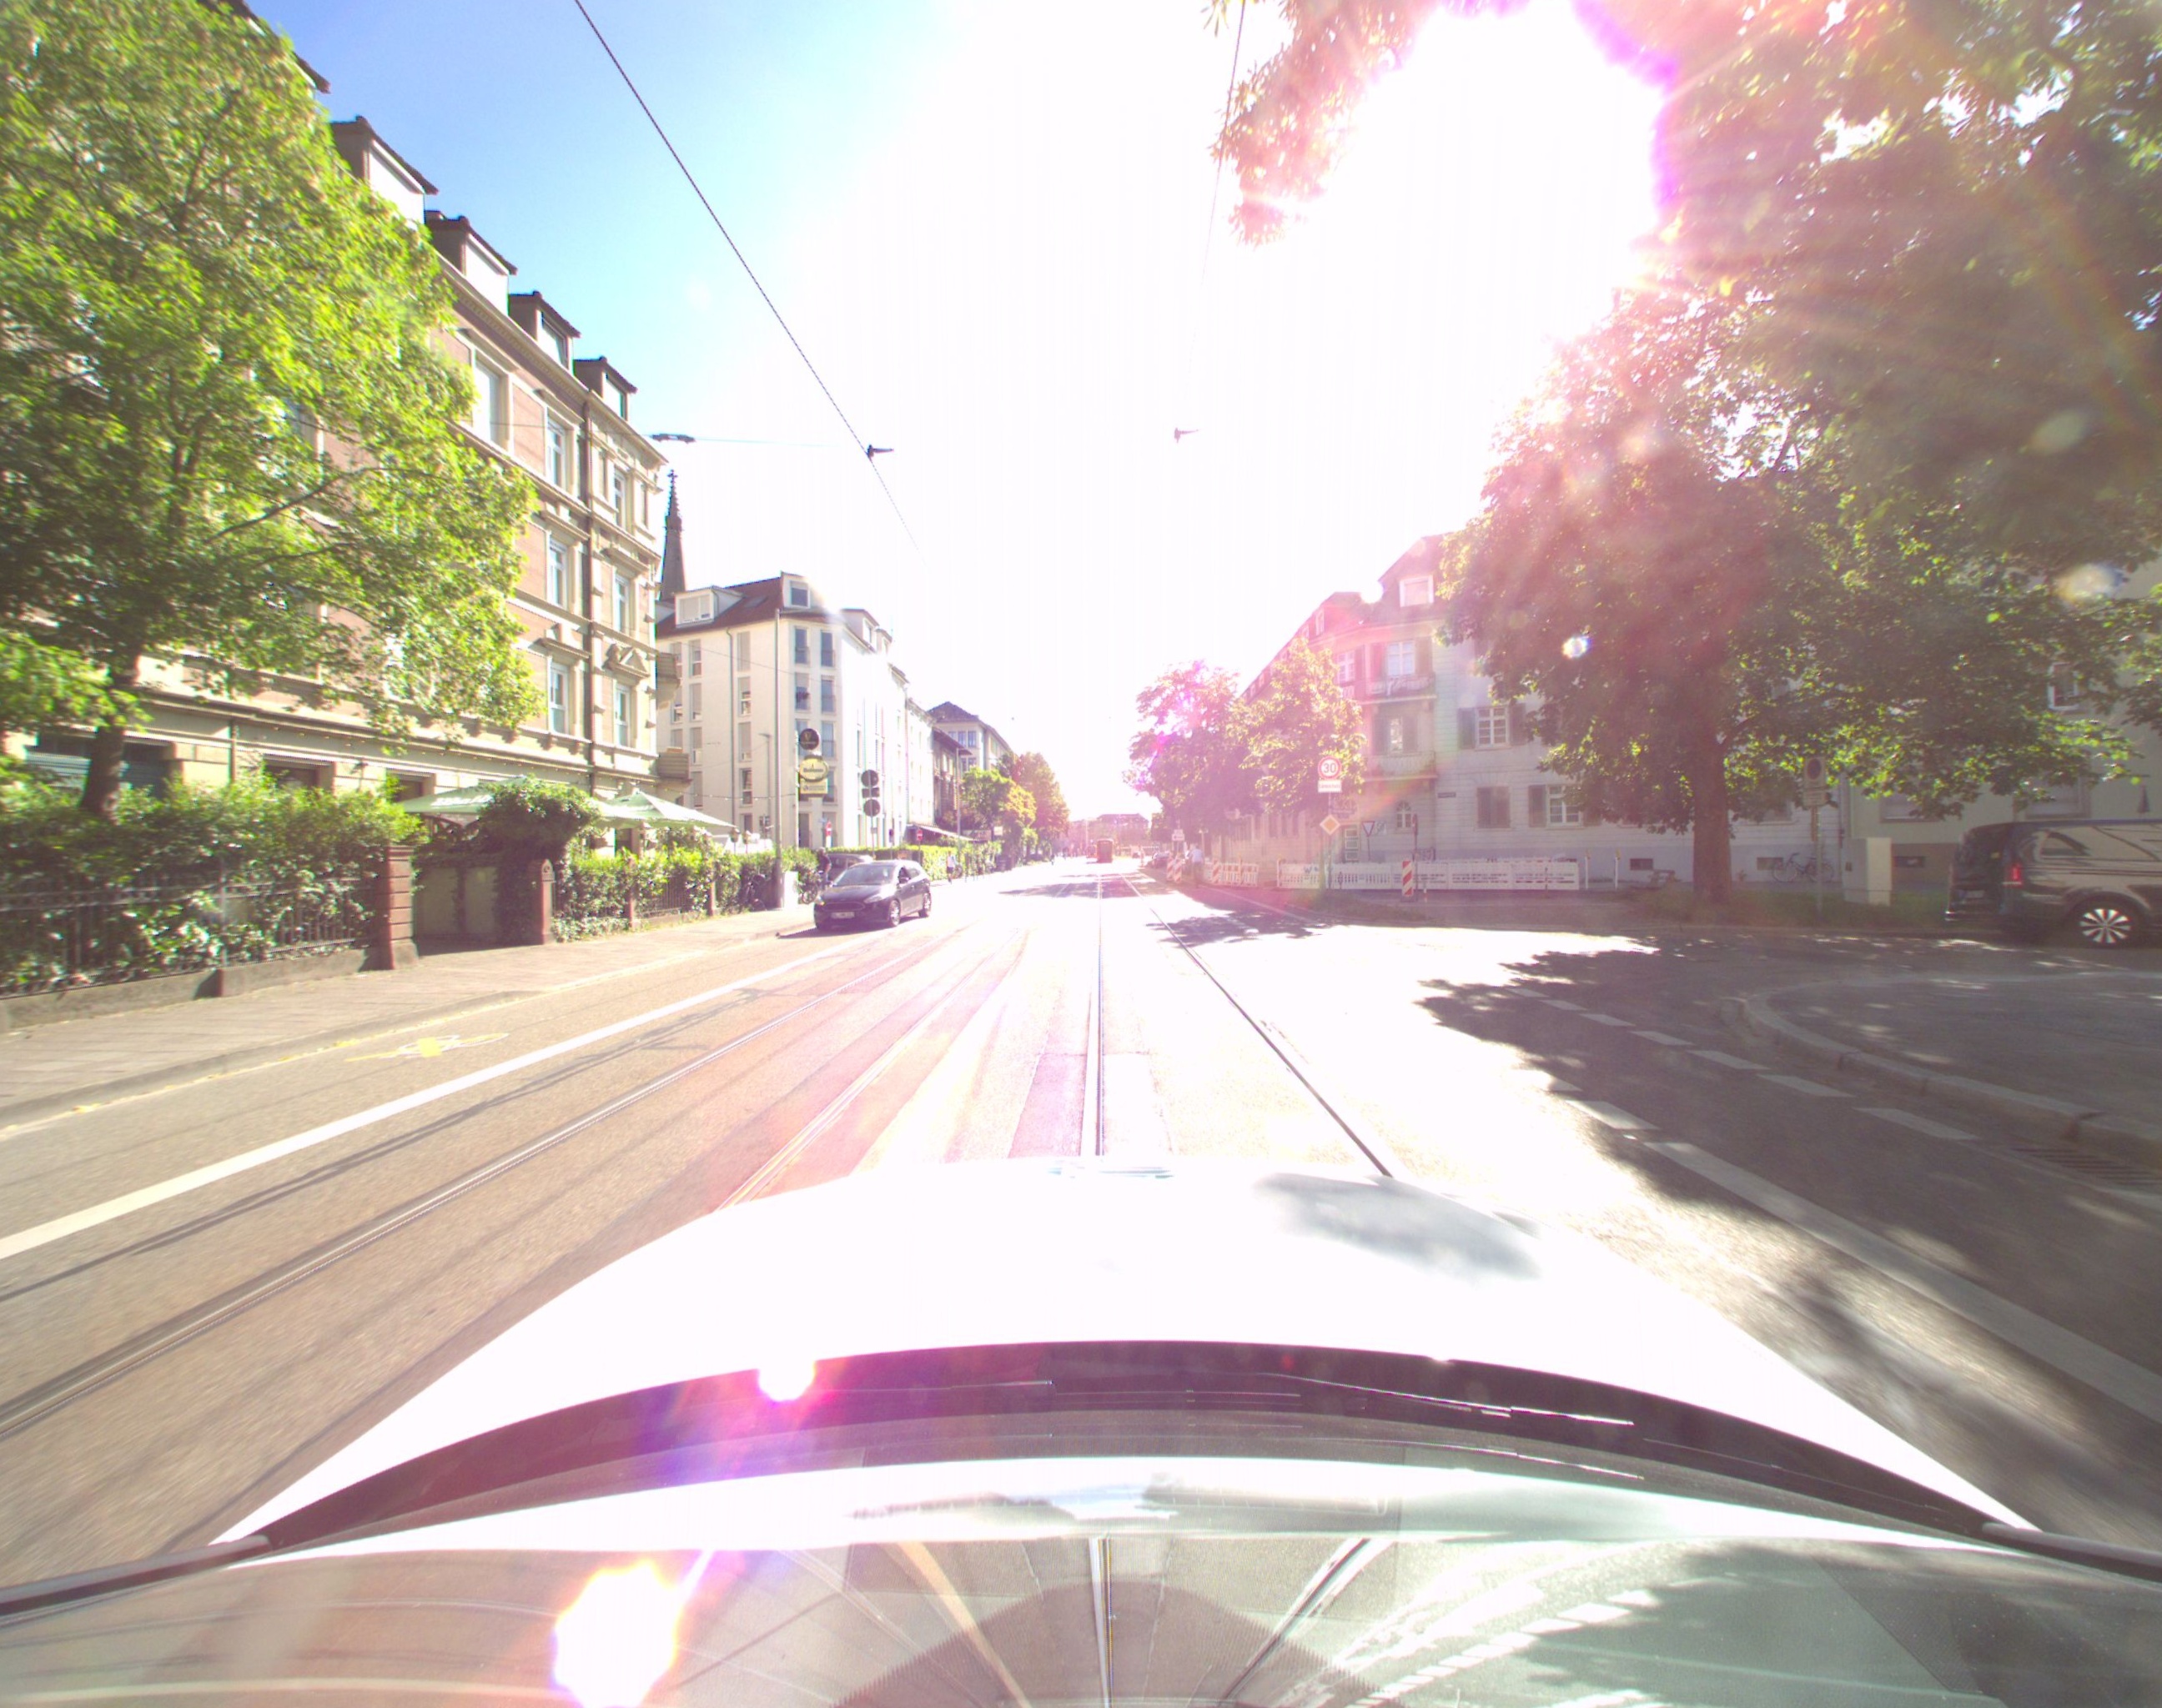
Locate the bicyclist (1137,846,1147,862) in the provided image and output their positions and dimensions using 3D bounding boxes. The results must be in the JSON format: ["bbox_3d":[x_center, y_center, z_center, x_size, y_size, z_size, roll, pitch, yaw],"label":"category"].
[{"bbox_3d":[6.107,-0.011,82.002,0.699,1.675,1.107,1,0,21],"label":"bicyclist"}]

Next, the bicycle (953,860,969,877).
[{"bbox_3d":[-7.946,0.947,54.071,0.659,1.089,1.841,2,-1,2],"label":"bicycle"}]

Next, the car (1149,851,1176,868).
[{"bbox_3d":[7.674,0.471,76.989,1.817,1.458,4.814,-3,0,-2],"label":"car"}]

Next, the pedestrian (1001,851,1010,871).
[{"bbox_3d":[-7.181,0.675,77.020,0.570,1.831,0.693,-1,0,20],"label":"pedestrian"}]

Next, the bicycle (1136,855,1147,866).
[{"bbox_3d":[6.102,0.662,82.007,0.699,1.104,1.726,1,1,21],"label":"bicycle"}]

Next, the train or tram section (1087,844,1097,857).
[{"bbox_3d":[2.990,-0.995,222.709,2.732,3.651,13.787,-1,0,1],"label":"train or tram section"}]

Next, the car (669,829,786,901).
[{"bbox_3d":[-15.156,0.487,35.209,1.871,2.841,4.805,-2,-1,18],"label":"car"}]

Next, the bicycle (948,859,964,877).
[{"bbox_3d":[-7.988,0.905,52.037,0.659,1.089,1.841,2,-1,2],"label":"bicycle"}]

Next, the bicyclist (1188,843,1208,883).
[{"bbox_3d":[4.929,0.370,34.408,0.735,1.686,0.972,0,0,3],"label":"bicyclist"}]

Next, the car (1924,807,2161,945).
[{"bbox_3d":[15.994,0.309,11.686,5.003,1.890,2.012,-1,-2,27],"label":"car"}]

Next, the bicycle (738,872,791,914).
[{"bbox_3d":[-8.667,1.032,22.413,0.511,1.038,2.224,-1,0,2],"label":"bicycle"}]

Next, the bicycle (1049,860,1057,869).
[{"bbox_3d":[-3.635,1.337,105.550,0.742,1.082,1.900,-4,0,3],"label":"bicycle"}]

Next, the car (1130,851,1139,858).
[{"bbox_3d":[11.663,0.102,177.843,1.780,1.604,3.719,0,0,6],"label":"car"}]

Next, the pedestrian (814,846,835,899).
[{"bbox_3d":[-8.742,0.636,27.757,0.555,1.781,0.538,-1,0,-2],"label":"pedestrian"}]

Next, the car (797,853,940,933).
[{"bbox_3d":[-4.893,0.822,19.504,1.856,1.576,4.594,-3,0,4],"label":"car"}]

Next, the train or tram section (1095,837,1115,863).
[{"bbox_3d":[3.499,-0.588,122.052,2.732,3.651,13.787,-1,0,1],"label":"train or tram section"}]

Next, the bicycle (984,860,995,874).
[{"bbox_3d":[-7.434,1.035,66.412,0.636,1.059,1.744,1,0,3],"label":"bicycle"}]

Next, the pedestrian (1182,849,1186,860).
[{"bbox_3d":[13.626,0.056,107.601,0.515,1.404,0.765,-1,0,4],"label":"pedestrian"}]

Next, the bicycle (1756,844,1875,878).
[{"bbox_3d":[25.639,0.258,28.505,3.073,1.112,0.529,-1,3,28],"label":"bicycle"}]

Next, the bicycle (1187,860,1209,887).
[{"bbox_3d":[4.926,0.800,34.420,0.735,1.094,2.113,0,0,3],"label":"bicycle"}]

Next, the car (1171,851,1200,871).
[{"bbox_3d":[7.715,0.483,60.418,1.716,1.382,4.359,-3,0,3],"label":"car"}]

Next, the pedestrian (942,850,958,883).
[{"bbox_3d":[-7.067,0.679,43.994,0.689,1.768,0.867,-1,0,2],"label":"pedestrian"}]

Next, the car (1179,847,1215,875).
[{"bbox_3d":[7.450,0.406,52.624,1.803,1.626,4.586,-3,0,2],"label":"car"}]

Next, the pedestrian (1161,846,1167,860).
[{"bbox_3d":[11.366,-0.146,111.721,0.681,1.849,0.955,-2,0,0],"label":"pedestrian"}]

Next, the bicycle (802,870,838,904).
[{"bbox_3d":[-8.410,1.047,26.283,0.525,0.981,1.778,-1,0,2],"label":"bicycle"}]

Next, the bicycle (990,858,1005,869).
[{"bbox_3d":[-7.875,0.917,77.238,0.631,1.045,2.031,-1,0,18],"label":"bicycle"}]

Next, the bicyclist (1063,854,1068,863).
[{"bbox_3d":[-3.184,0.906,166.273,0.683,1.644,1.239,-3,0,5],"label":"bicyclist"}]

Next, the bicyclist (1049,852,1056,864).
[{"bbox_3d":[-3.707,0.528,105.562,0.742,1.599,1.118,-4,0,2],"label":"bicyclist"}]

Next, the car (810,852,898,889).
[{"bbox_3d":[-11.567,0.852,41.432,4.005,1.807,1.801,-2,-1,22],"label":"car"}]
